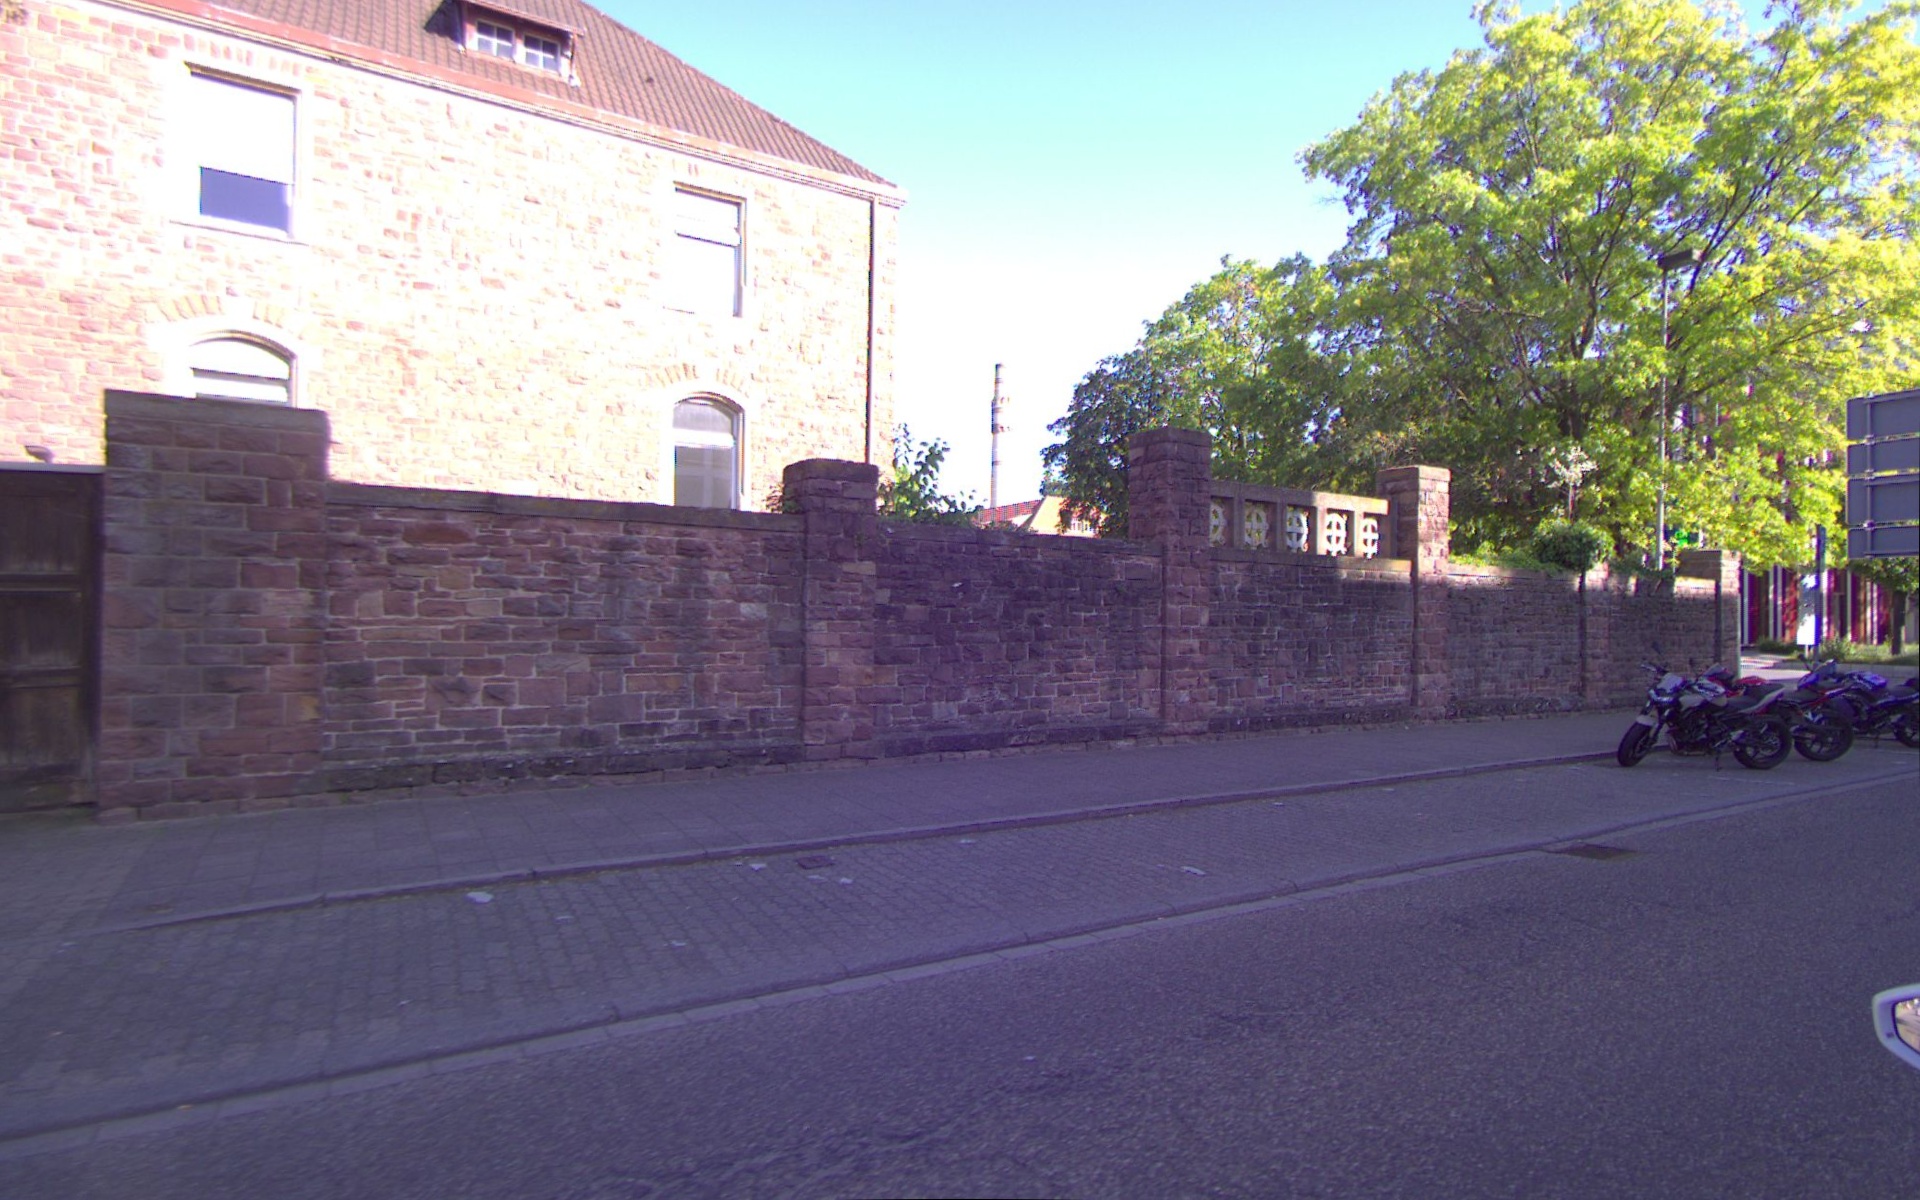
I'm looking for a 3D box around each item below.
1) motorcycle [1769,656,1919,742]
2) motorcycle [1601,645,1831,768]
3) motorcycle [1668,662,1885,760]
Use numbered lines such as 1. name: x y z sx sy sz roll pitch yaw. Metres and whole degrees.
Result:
1. motorcycle: 12.078 1.311 13.396 2.079 1.089 0.578 0 -1 2
2. motorcycle: 8.377 1.165 11.181 2.079 1.292 0.578 0 -1 2
3. motorcycle: 9.711 1.306 11.992 2.079 1.089 0.578 0 -1 2
